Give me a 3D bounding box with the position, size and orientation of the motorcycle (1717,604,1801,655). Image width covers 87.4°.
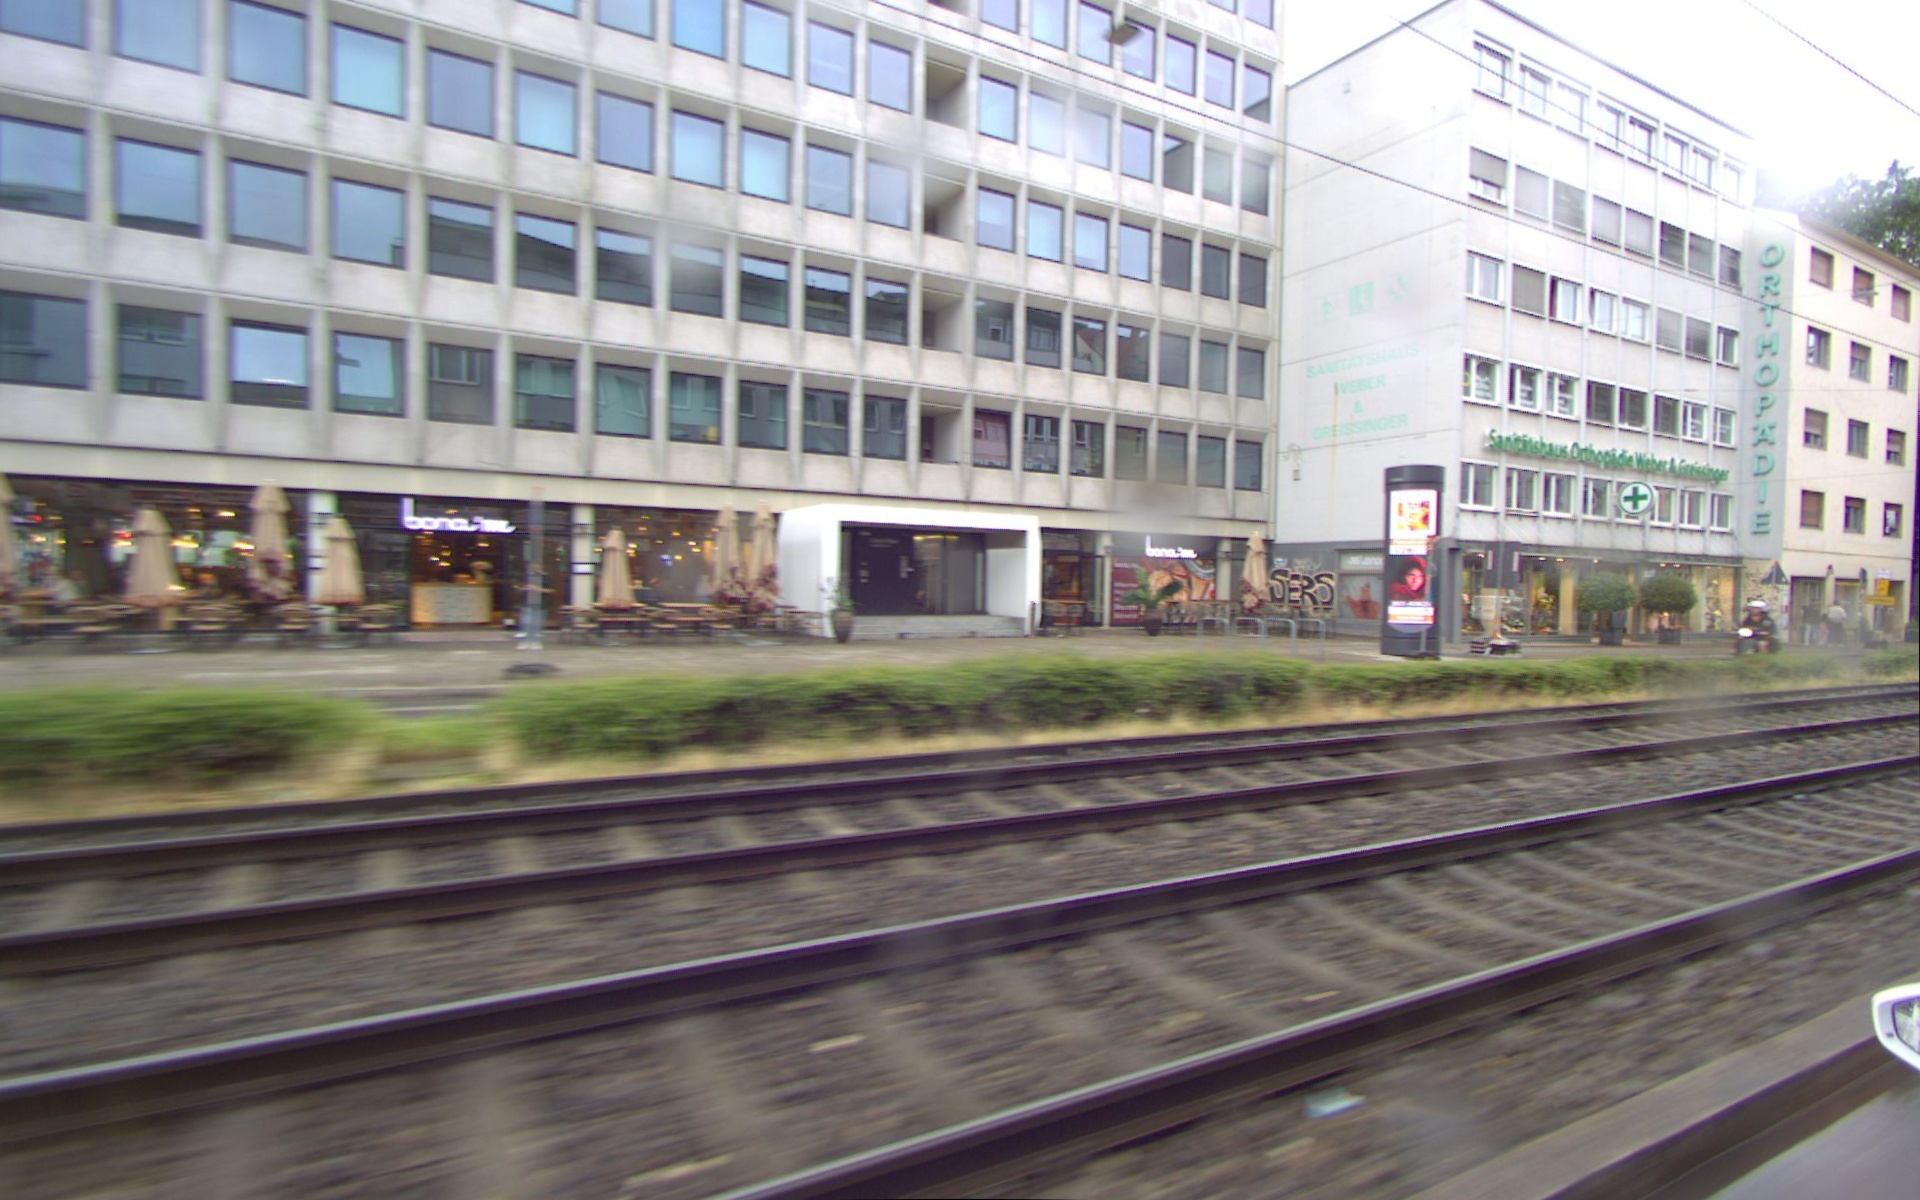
[{"bbox_3d":[17.518,0.644,22.022,1.907,1.074,0.739,1,1,-29],"label":"motorcycle"}]

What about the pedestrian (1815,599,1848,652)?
[{"bbox_3d":[32.657,0.945,37.626,0.734,1.921,0.675,1,1,-30],"label":"pedestrian"}]

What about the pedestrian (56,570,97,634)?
[{"bbox_3d":[-18.796,0.035,21.377,0.547,1.339,0.520,1,1,-29],"label":"pedestrian"}]

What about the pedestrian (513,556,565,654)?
[{"bbox_3d":[-8.198,0.092,19.547,0.836,1.847,0.560,0,1,-35],"label":"pedestrian"}]

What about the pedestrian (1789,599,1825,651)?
[{"bbox_3d":[32.358,0.945,38.366,0.971,1.921,0.724,1,1,-30],"label":"pedestrian"}]

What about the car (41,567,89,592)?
[{"bbox_3d":[-63.996,-1.493,71.877,1.761,1.757,4.130,0,1,-31],"label":"car"}]

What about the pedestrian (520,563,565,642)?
[{"bbox_3d":[-9.551,0.059,22.972,0.836,1.772,0.560,0,1,-35],"label":"pedestrian"}]

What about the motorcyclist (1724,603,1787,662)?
[{"bbox_3d":[17.371,0.694,21.941,0.958,1.234,0.738,1,1,-28],"label":"motorcyclist"}]

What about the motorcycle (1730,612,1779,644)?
[{"bbox_3d":[31.721,1.104,40.129,0.381,1.196,1.469,0,1,-31],"label":"motorcycle"}]
